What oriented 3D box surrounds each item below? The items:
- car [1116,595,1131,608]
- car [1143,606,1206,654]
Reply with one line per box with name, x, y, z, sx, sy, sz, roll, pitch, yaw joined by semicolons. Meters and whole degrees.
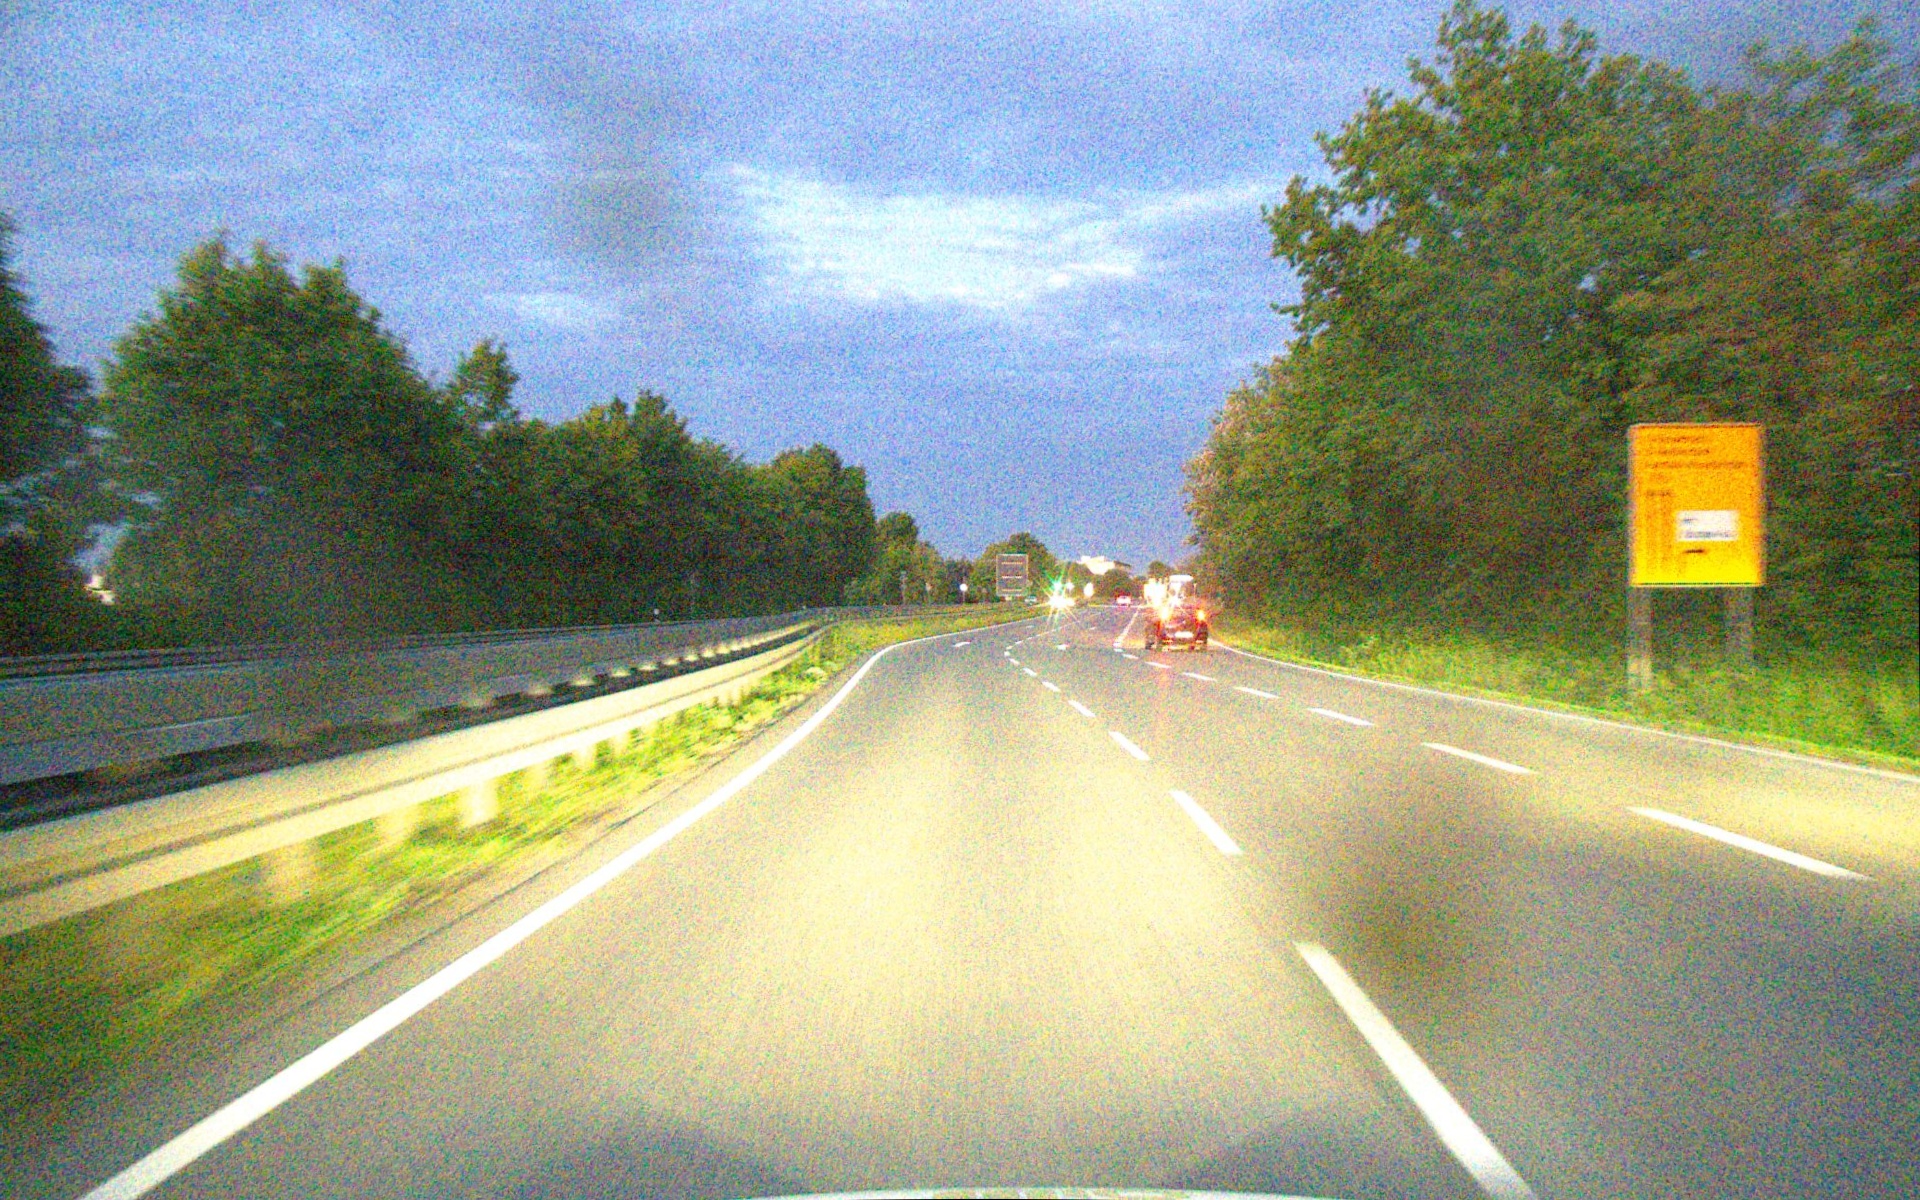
car;24.088;0.199;243.555;1.952;1.780;4.002;-4;-1;5
car;6.892;0.944;53.389;1.716;1.478;4.435;0;0;3
